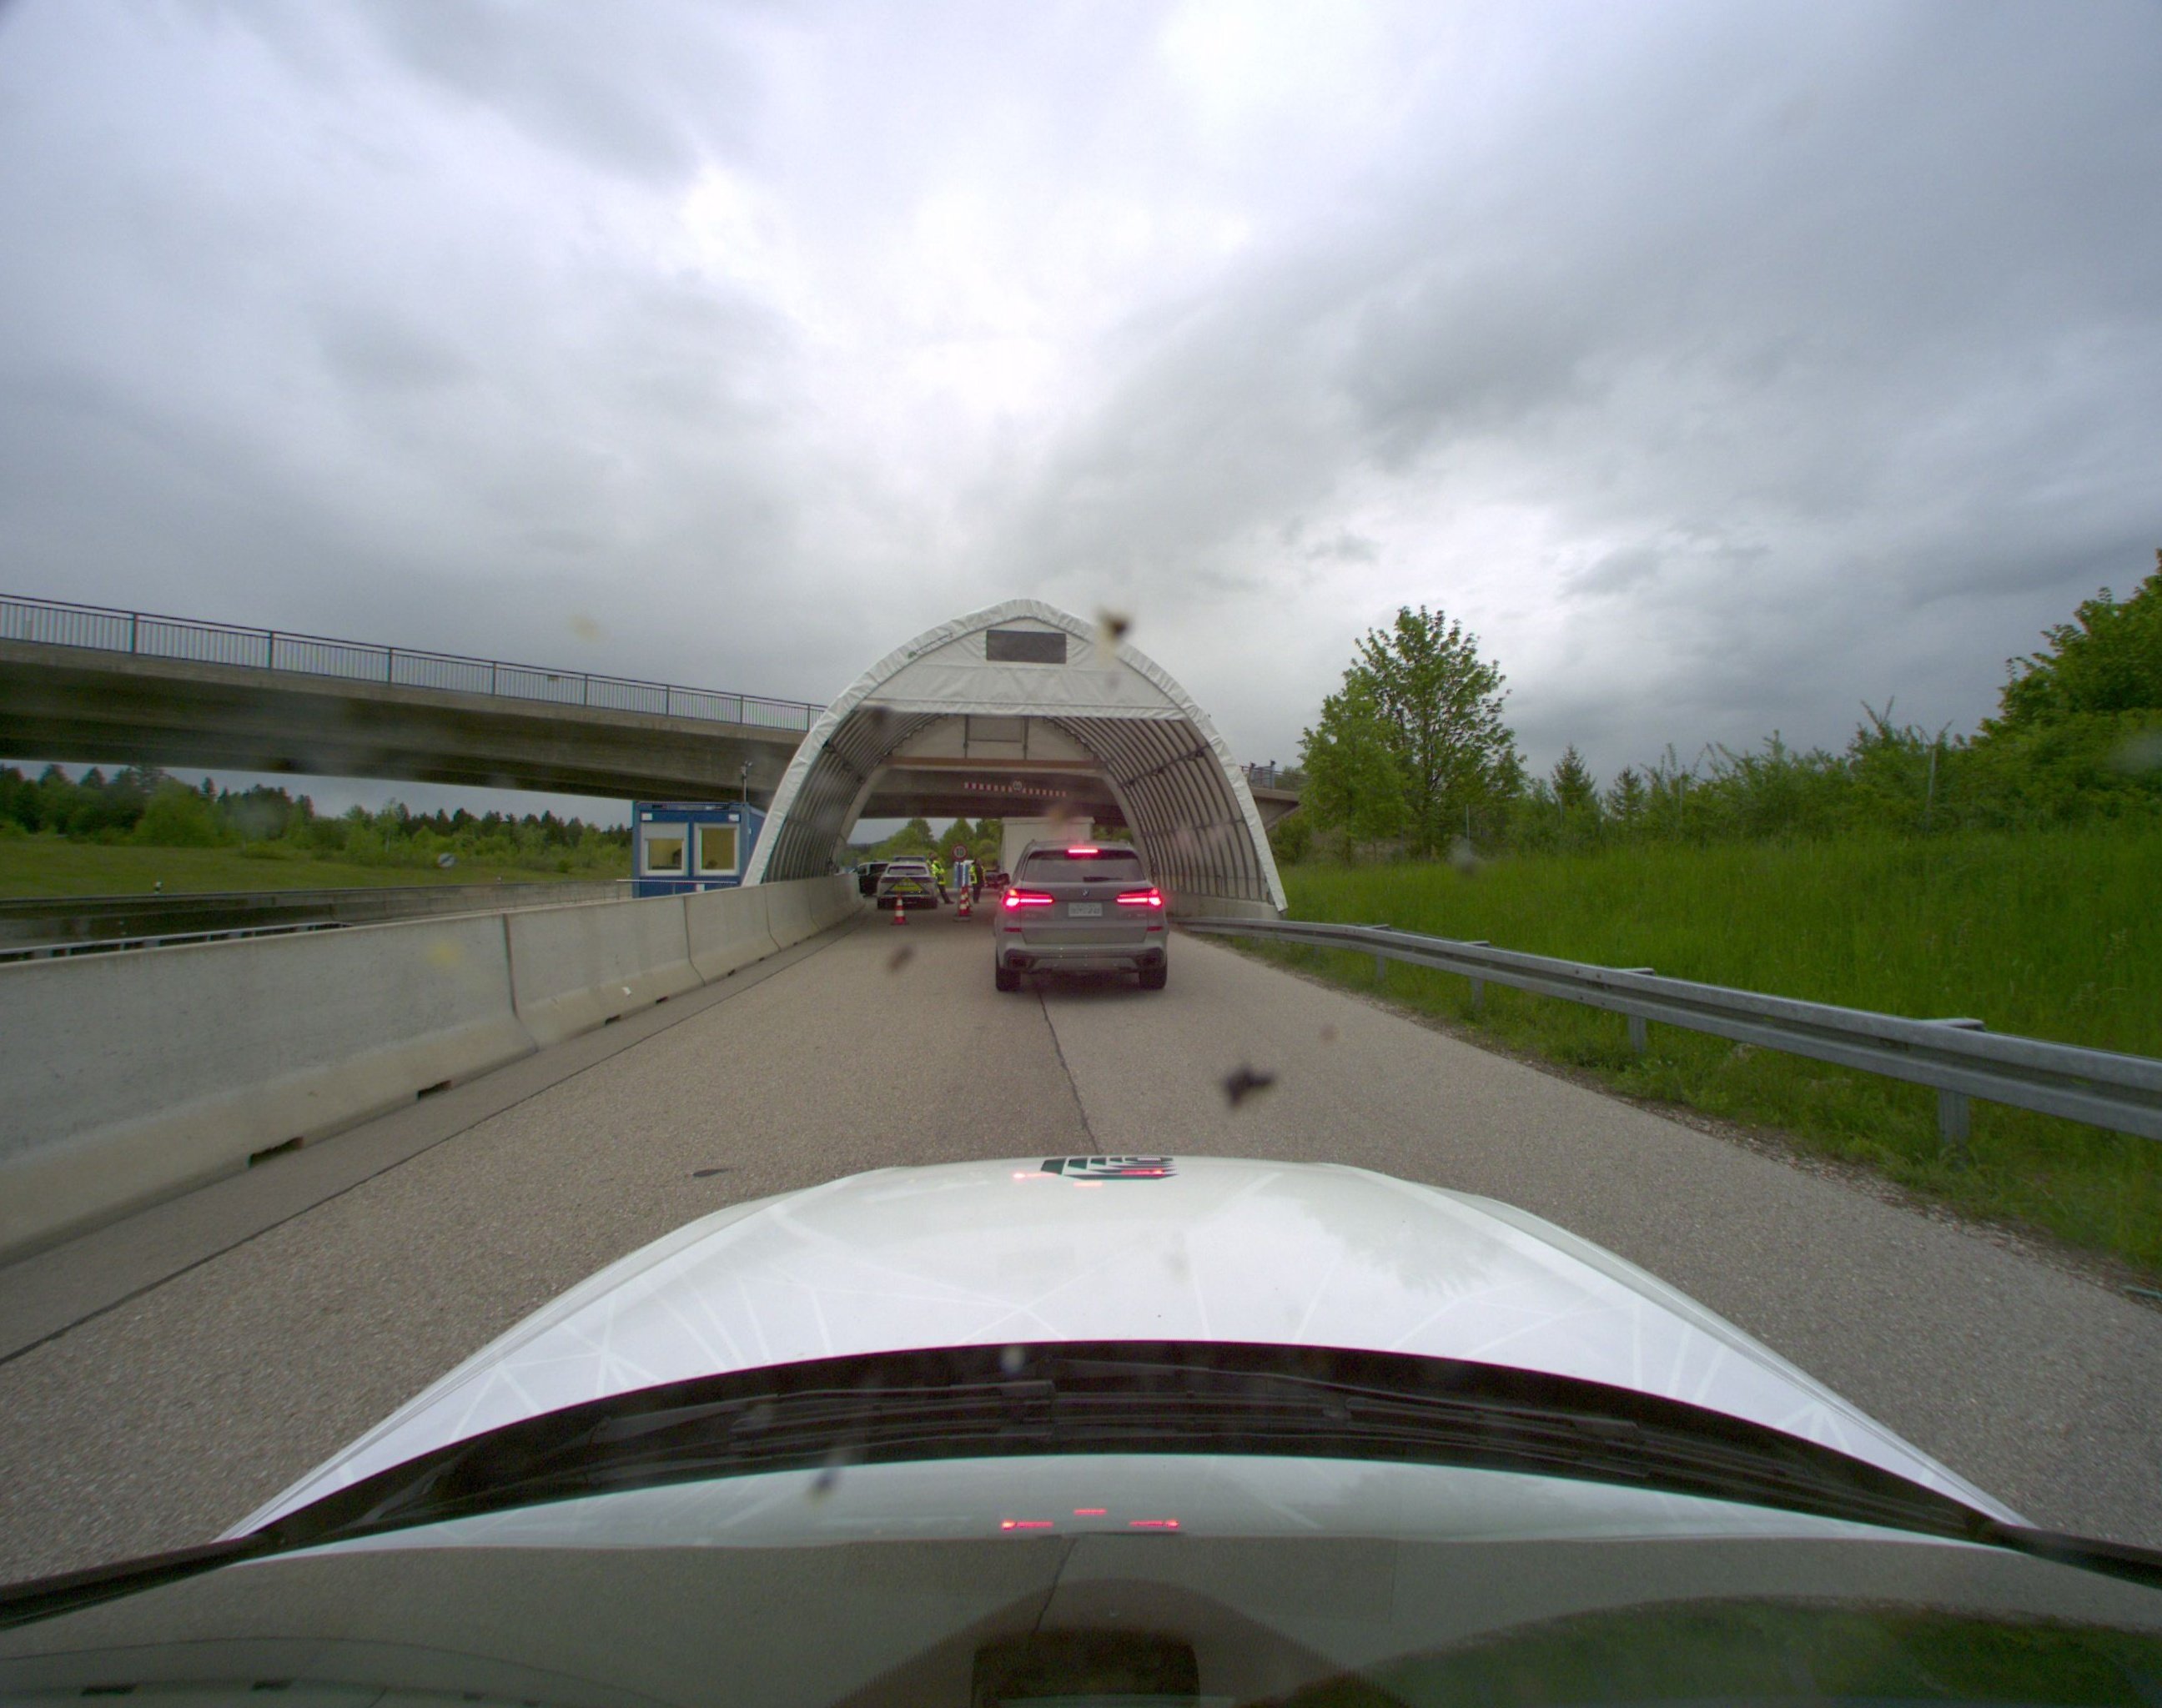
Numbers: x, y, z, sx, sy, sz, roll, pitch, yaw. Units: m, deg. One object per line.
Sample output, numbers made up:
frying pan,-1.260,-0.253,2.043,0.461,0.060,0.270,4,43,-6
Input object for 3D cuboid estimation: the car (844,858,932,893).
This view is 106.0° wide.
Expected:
car,-11.675,1.296,49.368,4.777,2.014,1.845,-1,-1,9

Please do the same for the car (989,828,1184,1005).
car,-0.156,0.664,10.463,1.992,1.765,3.990,-1,-1,-7

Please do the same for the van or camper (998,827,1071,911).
van or camper,-1.692,0.492,27.657,2.102,2.519,5.537,-1,-1,-7

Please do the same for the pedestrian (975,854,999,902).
pedestrian,-3.437,0.870,29.827,0.778,1.722,0.755,-1,-1,-5

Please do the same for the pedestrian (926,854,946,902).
pedestrian,-5.382,0.900,30.281,0.607,1.754,0.665,-1,-1,-4

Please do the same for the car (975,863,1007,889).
car,-6.528,1.579,58.947,1.994,1.722,3.882,-1,-1,-11

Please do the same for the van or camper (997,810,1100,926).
van or camper,-1.058,0.352,21.563,2.227,2.552,6.595,-1,-1,-6

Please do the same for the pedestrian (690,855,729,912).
pedestrian,-9.249,0.732,20.294,0.606,1.373,0.629,-2,-1,10

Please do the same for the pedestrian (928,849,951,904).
pedestrian,-5.085,0.797,29.189,0.750,1.919,0.759,-1,-1,-13

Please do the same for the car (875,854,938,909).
car,-5.779,0.873,27.018,1.879,1.647,3.983,-1,-1,-12
